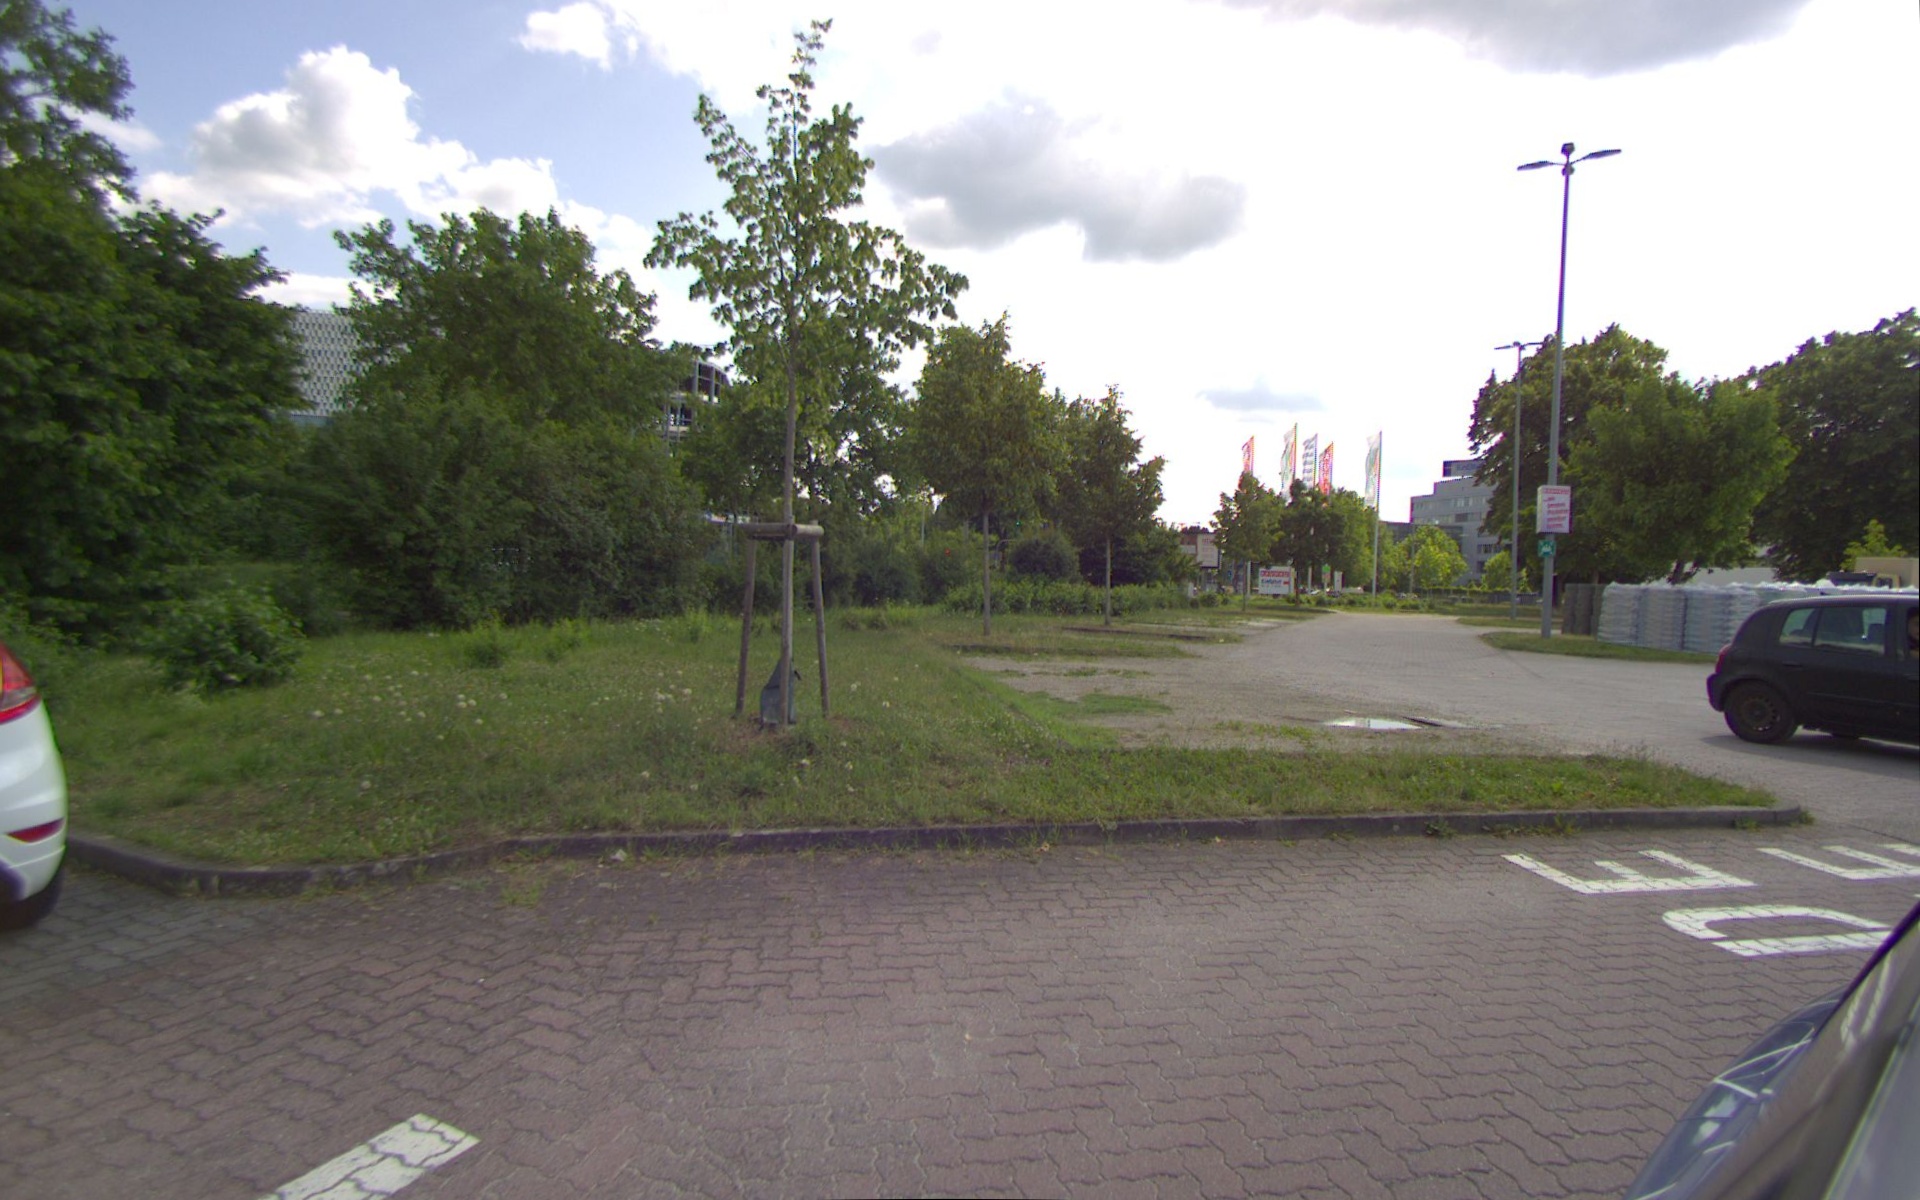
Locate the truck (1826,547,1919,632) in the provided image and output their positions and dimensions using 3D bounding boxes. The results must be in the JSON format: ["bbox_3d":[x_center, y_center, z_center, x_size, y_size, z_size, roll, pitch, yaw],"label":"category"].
[{"bbox_3d":[44.537,-0.387,45.797,8.852,3.642,2.735,2,2,-8],"label":"truck"}]

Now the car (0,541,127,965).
[{"bbox_3d":[-4.982,0.446,3.879,3.528,1.429,1.653,3,2,30],"label":"car"}]

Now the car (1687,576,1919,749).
[{"bbox_3d":[8.458,0.540,8.272,1.578,1.337,3.796,1,2,-21],"label":"car"}]
